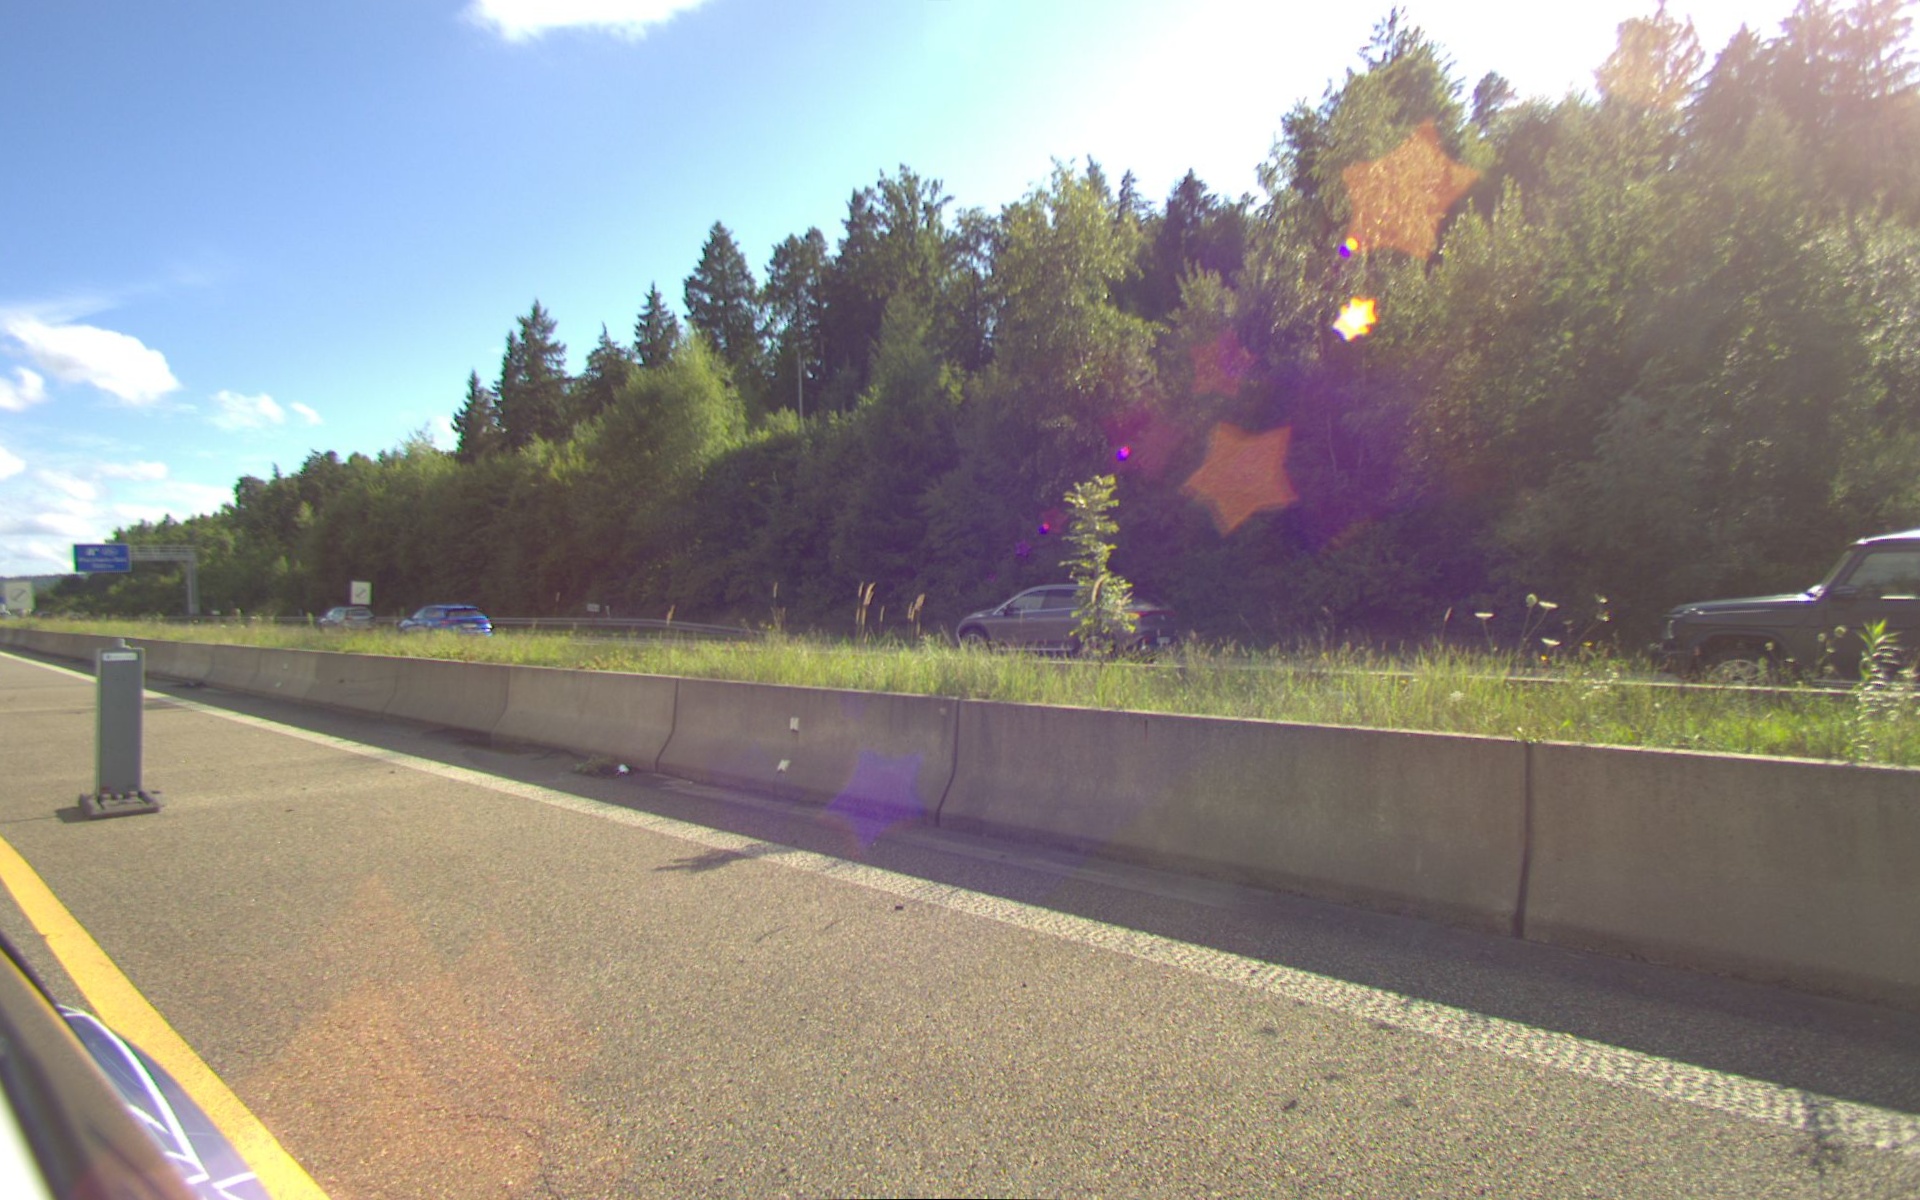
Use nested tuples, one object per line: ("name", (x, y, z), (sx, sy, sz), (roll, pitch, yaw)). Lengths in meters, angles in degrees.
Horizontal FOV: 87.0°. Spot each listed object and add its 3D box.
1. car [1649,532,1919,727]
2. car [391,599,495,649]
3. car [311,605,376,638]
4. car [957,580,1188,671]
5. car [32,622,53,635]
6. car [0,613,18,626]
("car", (10.081, 0.283, 10.554), (4.615, 1.917, 1.759), (-1, 0, 41))
("car", (-18.147, 0.805, 35.433), (4.309, 1.614, 1.759), (-1, 0, 41))
("car", (-31.984, 1.107, 52.444), (4.016, 1.614, 1.759), (-1, 0, 41))
("car", (2.249, 0.491, 21.142), (4.615, 1.701, 1.759), (-1, 0, 41))
("car", (-147.046, 4.541, 162.205), (3.998, 2.029, 1.973), (-1, 0, 41))
("car", (-149.689, 3.029, 159.030), (3.998, 2.029, 1.973), (-1, 0, 41))
